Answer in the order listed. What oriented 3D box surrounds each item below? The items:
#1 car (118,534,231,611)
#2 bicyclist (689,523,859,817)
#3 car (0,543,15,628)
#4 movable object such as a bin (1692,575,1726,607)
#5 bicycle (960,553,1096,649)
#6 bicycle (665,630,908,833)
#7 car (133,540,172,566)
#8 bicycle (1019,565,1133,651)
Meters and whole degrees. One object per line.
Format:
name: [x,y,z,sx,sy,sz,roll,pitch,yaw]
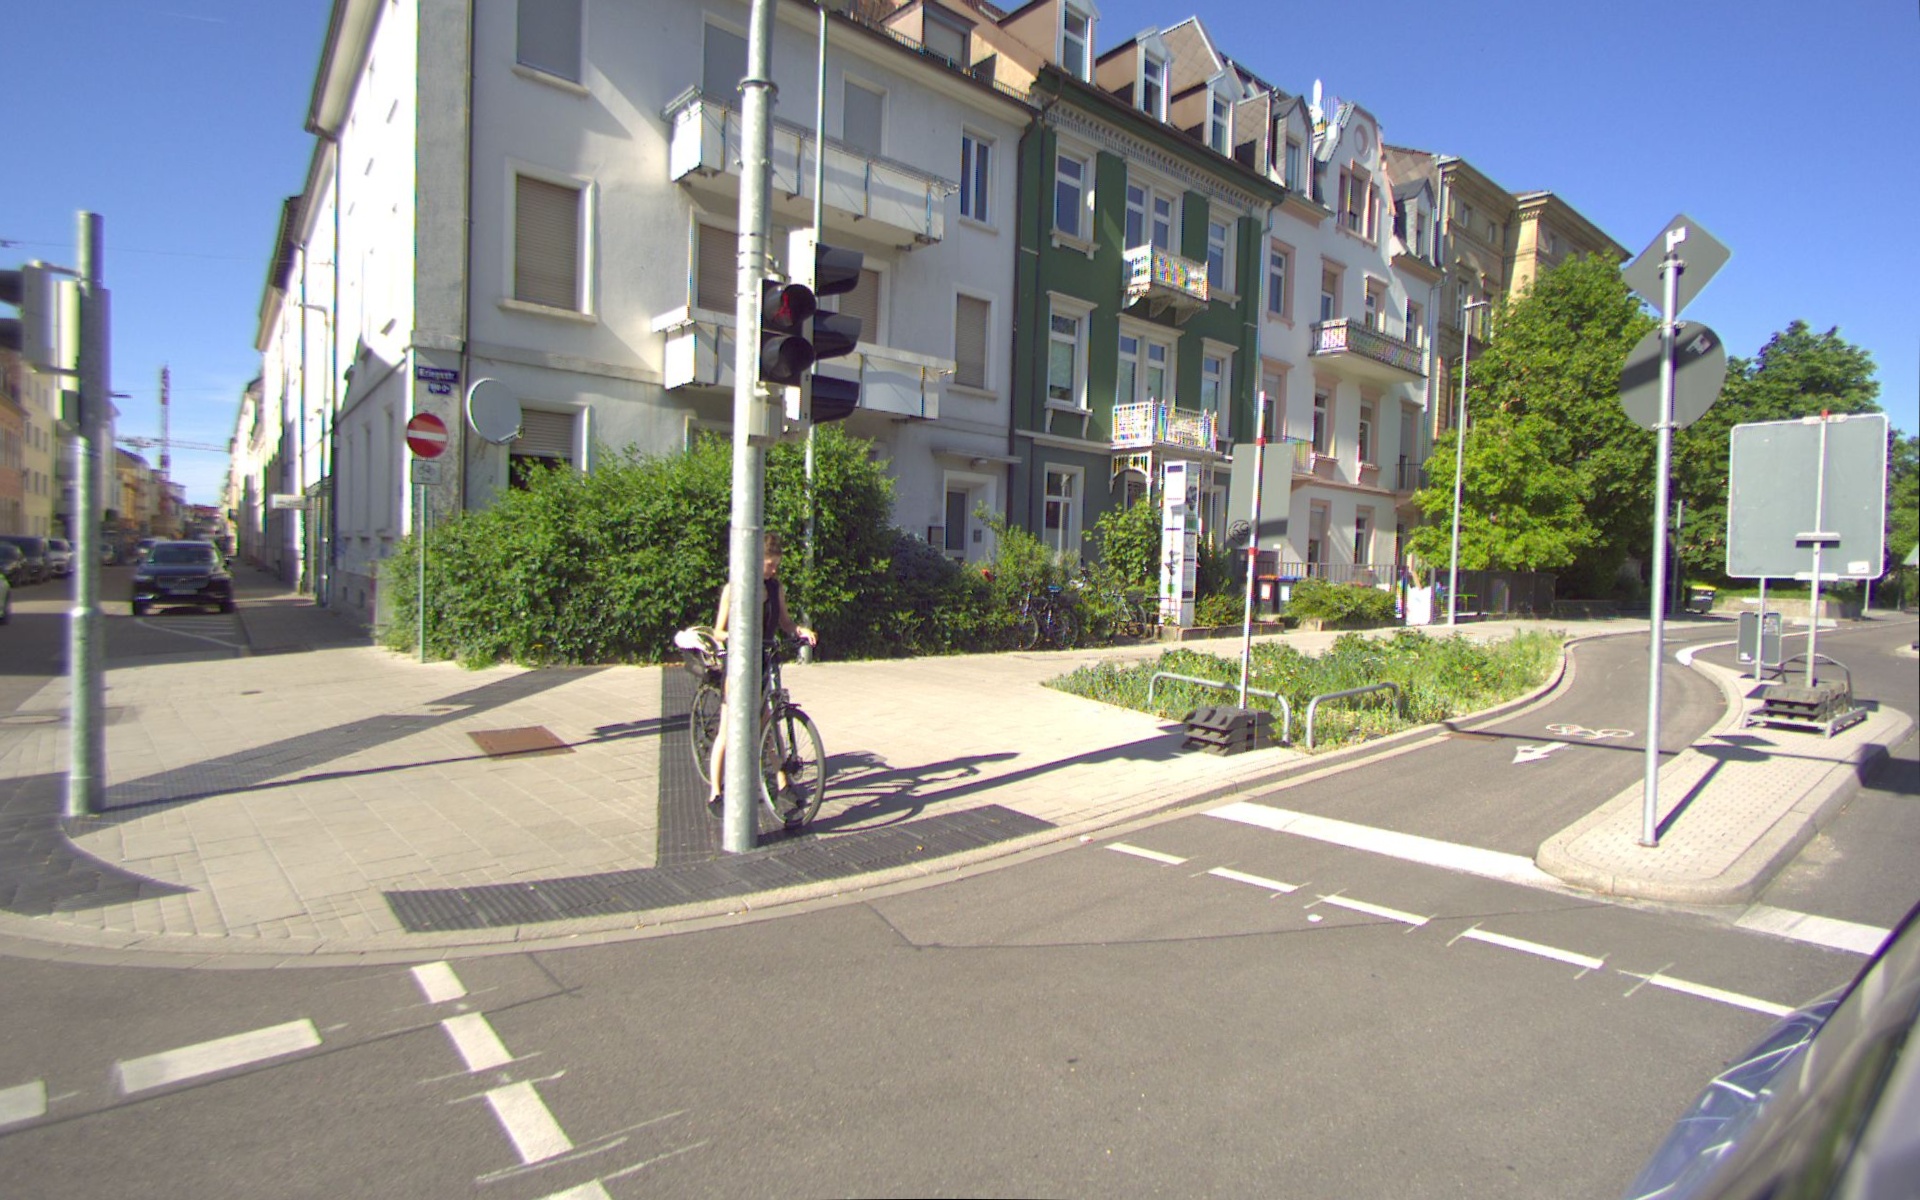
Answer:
car: [-19.300,-0.695,25.018,1.962,1.734,4.001,0,2,-35]
bicyclist: [-1.180,0.400,6.447,0.843,1.729,0.604,0,2,-41]
car: [-18.187,-0.246,17.638,1.962,1.584,4.126,0,2,-35]
movable object such as a bin: [35.441,-0.431,47.884,0.964,1.415,1.276,5,2,26]
bicycle: [1.148,0.025,16.500,2.449,1.462,0.709,1,0,-43]
bicycle: [-1.184,0.753,6.530,0.594,1.038,1.965,1,0,-41]
car: [-57.154,-3.344,71.702,1.962,1.734,4.000,0,2,-36]
bicycle: [2.164,0.122,19.183,0.627,1.503,2.258,1,2,-42]
